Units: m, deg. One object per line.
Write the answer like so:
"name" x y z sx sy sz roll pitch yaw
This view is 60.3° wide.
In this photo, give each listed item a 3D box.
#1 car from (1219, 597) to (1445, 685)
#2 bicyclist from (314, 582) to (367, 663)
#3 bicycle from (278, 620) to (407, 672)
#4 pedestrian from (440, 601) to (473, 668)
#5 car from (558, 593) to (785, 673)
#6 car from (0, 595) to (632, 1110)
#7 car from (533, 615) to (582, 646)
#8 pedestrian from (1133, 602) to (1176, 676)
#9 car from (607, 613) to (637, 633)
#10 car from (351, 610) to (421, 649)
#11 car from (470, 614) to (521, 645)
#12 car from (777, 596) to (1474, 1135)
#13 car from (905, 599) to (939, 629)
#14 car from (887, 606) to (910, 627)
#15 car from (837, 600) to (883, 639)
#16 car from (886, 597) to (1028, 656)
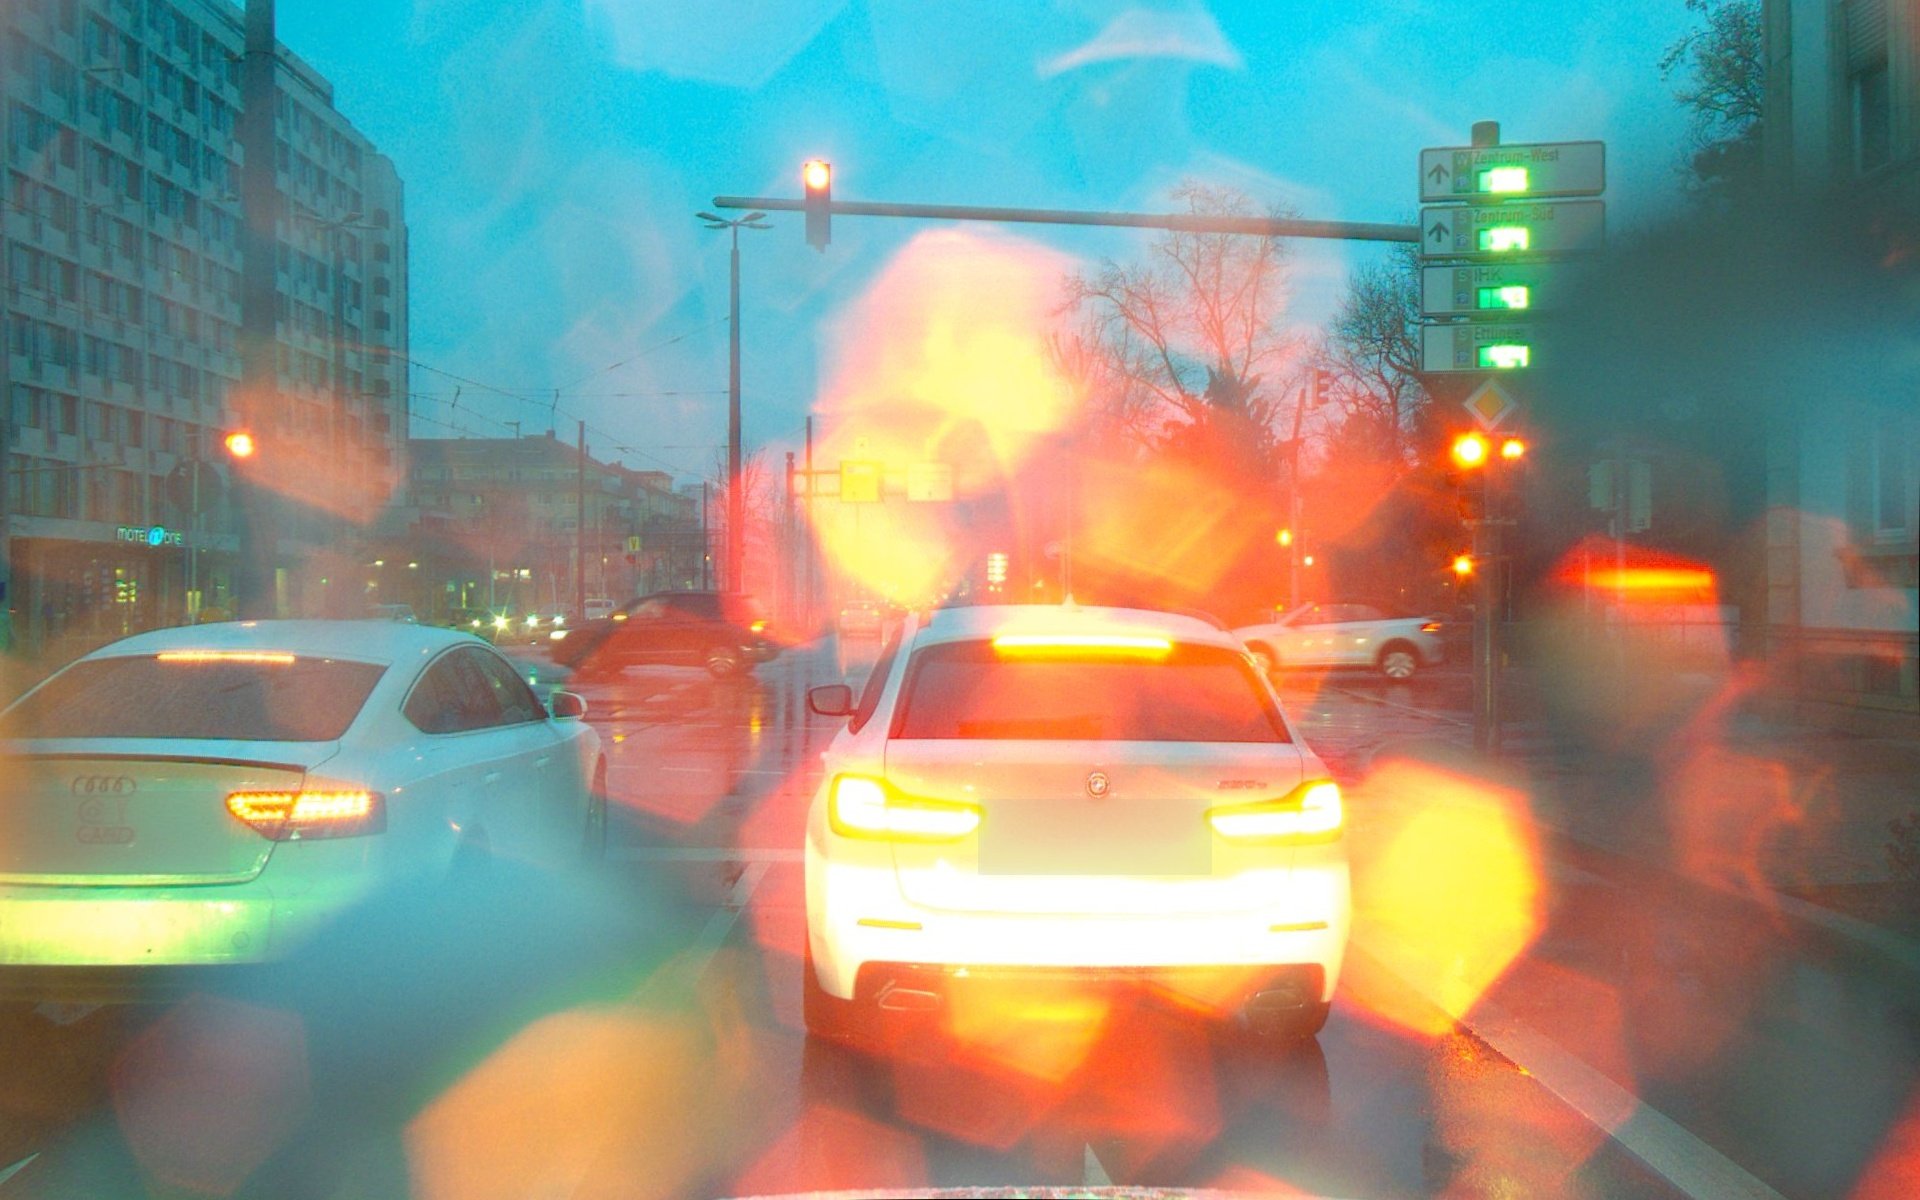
"car" 6.959 0.749 30.952 4.006 1.556 1.841 0 -1 15
"bicyclist" -14.035 0.519 37.489 0.955 1.789 0.811 2 -1 -13
"bicycle" -13.969 1.041 37.490 2.620 1.108 0.812 2 -1 -13
"pedestrian" -13.419 0.922 44.127 0.777 1.741 0.809 2 -1 -16
"car" -5.557 0.631 32.167 4.006 1.466 1.841 0 -1 5
"car" -2.708 0.727 6.980 1.954 1.481 4.366 0 0 -3
"car" -20.441 1.546 84.139 1.641 1.534 3.695 1 -1 -1
"pedestrian" 5.105 1.013 43.377 0.884 1.888 0.812 1 -1 23
"car" -26.750 1.811 131.154 1.641 1.534 3.695 1 -1 -1
"car" -23.897 1.222 69.018 1.641 1.534 3.695 1 -1 -1
"car" -24.157 1.540 86.138 1.641 1.534 3.695 1 -1 -1
"car" 0.374 0.735 6.809 1.954 1.481 4.366 0 0 -3
"car" -2.170 0.803 93.729 1.806 1.637 3.943 1 -1 -2
"car" -5.000 1.360 135.527 1.806 1.637 3.943 1 -1 -2
"car" -4.311 0.828 70.892 1.710 1.581 3.962 2 -1 -7
"car" -0.122 0.671 42.691 1.736 1.426 3.952 2 -1 -34
